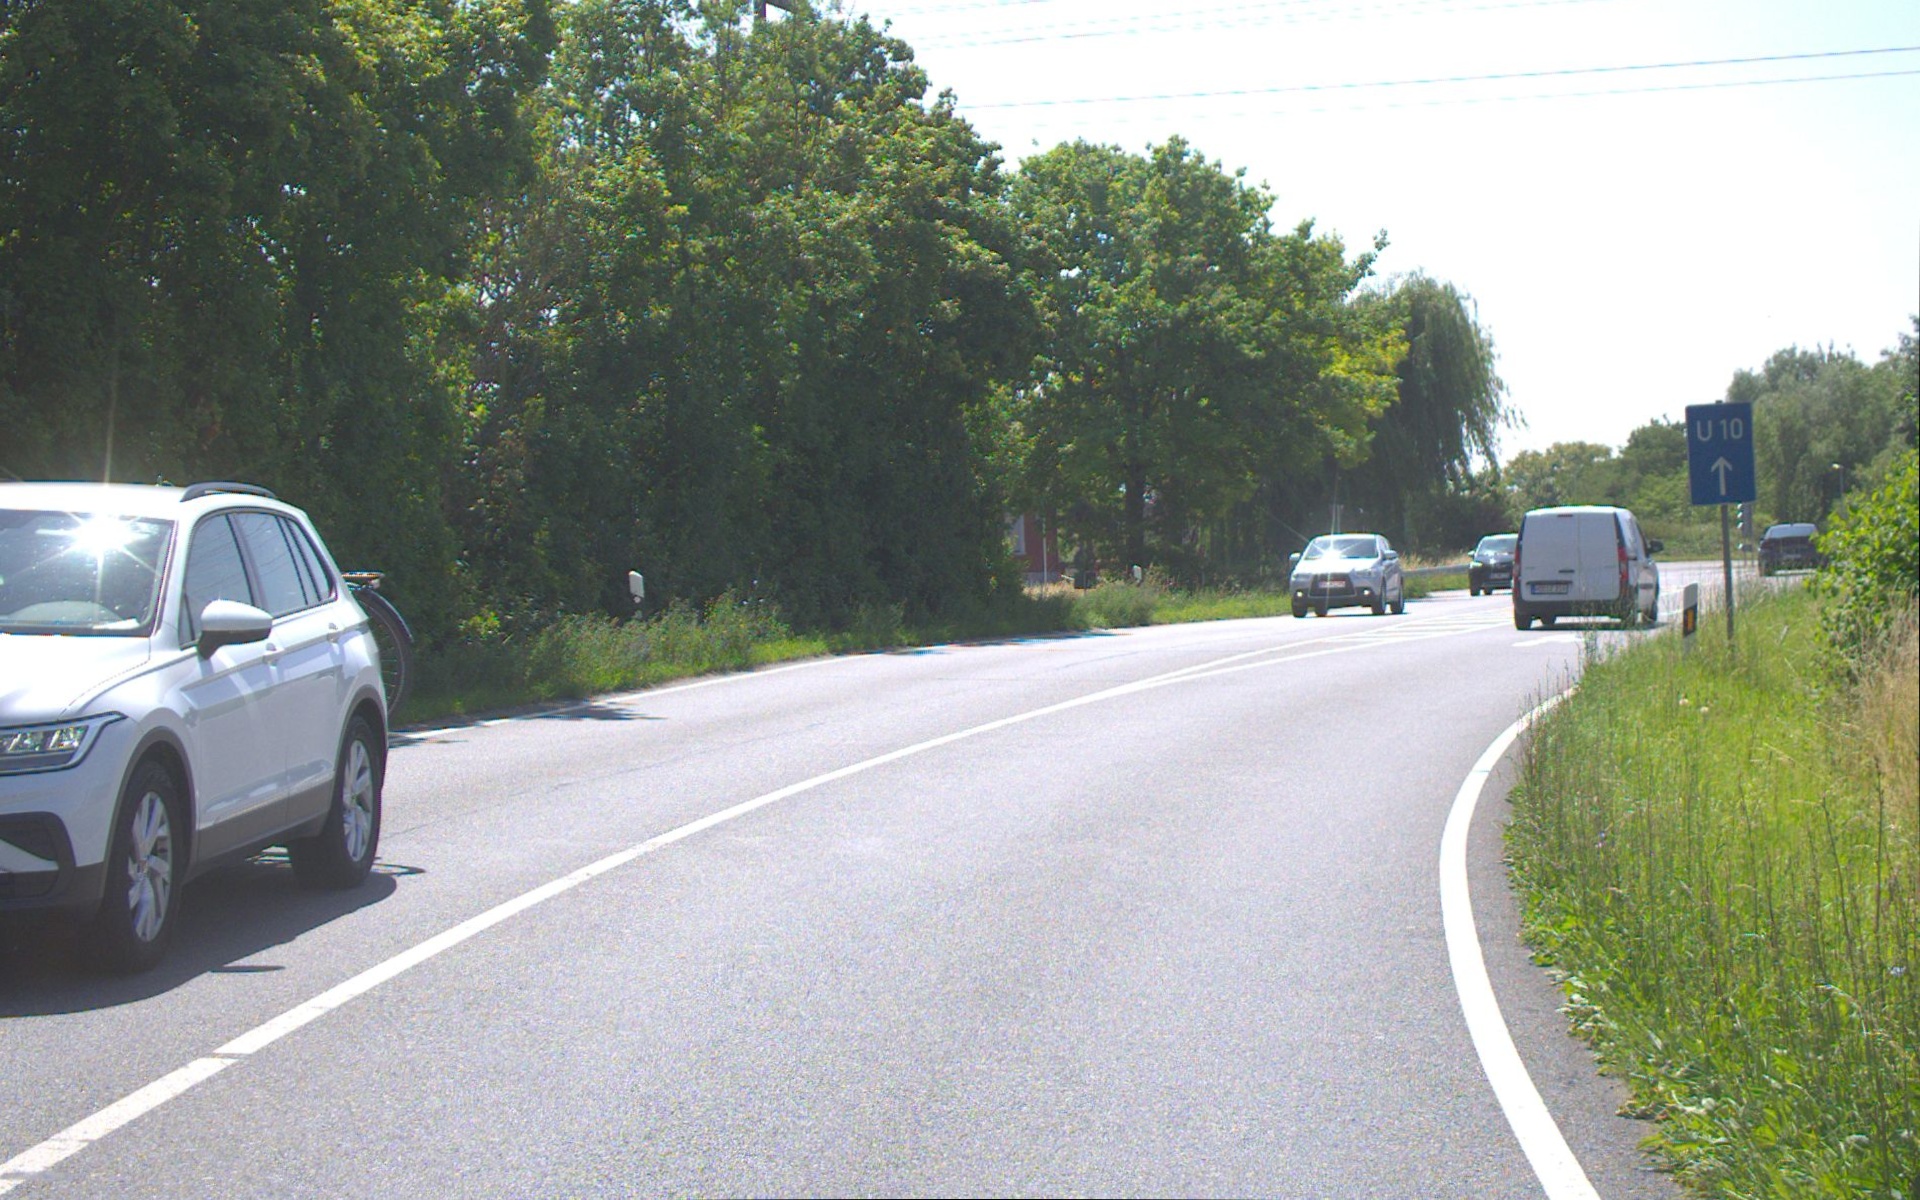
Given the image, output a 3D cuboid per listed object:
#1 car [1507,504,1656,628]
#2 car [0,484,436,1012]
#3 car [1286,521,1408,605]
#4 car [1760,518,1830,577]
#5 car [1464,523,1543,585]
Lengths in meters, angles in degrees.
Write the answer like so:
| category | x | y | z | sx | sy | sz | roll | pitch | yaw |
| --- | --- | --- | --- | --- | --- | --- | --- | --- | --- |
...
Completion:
| category | x | y | z | sx | sy | sz | roll | pitch | yaw |
| --- | --- | --- | --- | --- | --- | --- | --- | --- | --- |
| car | 9.221 | -0.500 | 50.788 | 1.905 | 1.726 | 3.820 | -1 | 0 | 14 |
| car | -3.432 | 0.388 | 12.860 | 1.855 | 1.596 | 4.777 | 1 | 1 | 4 |
| car | 7.589 | -0.743 | 67.126 | 1.742 | 1.584 | 3.997 | 1 | 1 | 15 |
| car | 24.406 | -1.539 | 100.406 | 1.806 | 1.550 | 3.998 | -2 | 2 | 16 |
| car | 14.336 | -1.208 | 90.594 | 1.733 | 1.584 | 3.955 | 0 | 1 | 13 |
